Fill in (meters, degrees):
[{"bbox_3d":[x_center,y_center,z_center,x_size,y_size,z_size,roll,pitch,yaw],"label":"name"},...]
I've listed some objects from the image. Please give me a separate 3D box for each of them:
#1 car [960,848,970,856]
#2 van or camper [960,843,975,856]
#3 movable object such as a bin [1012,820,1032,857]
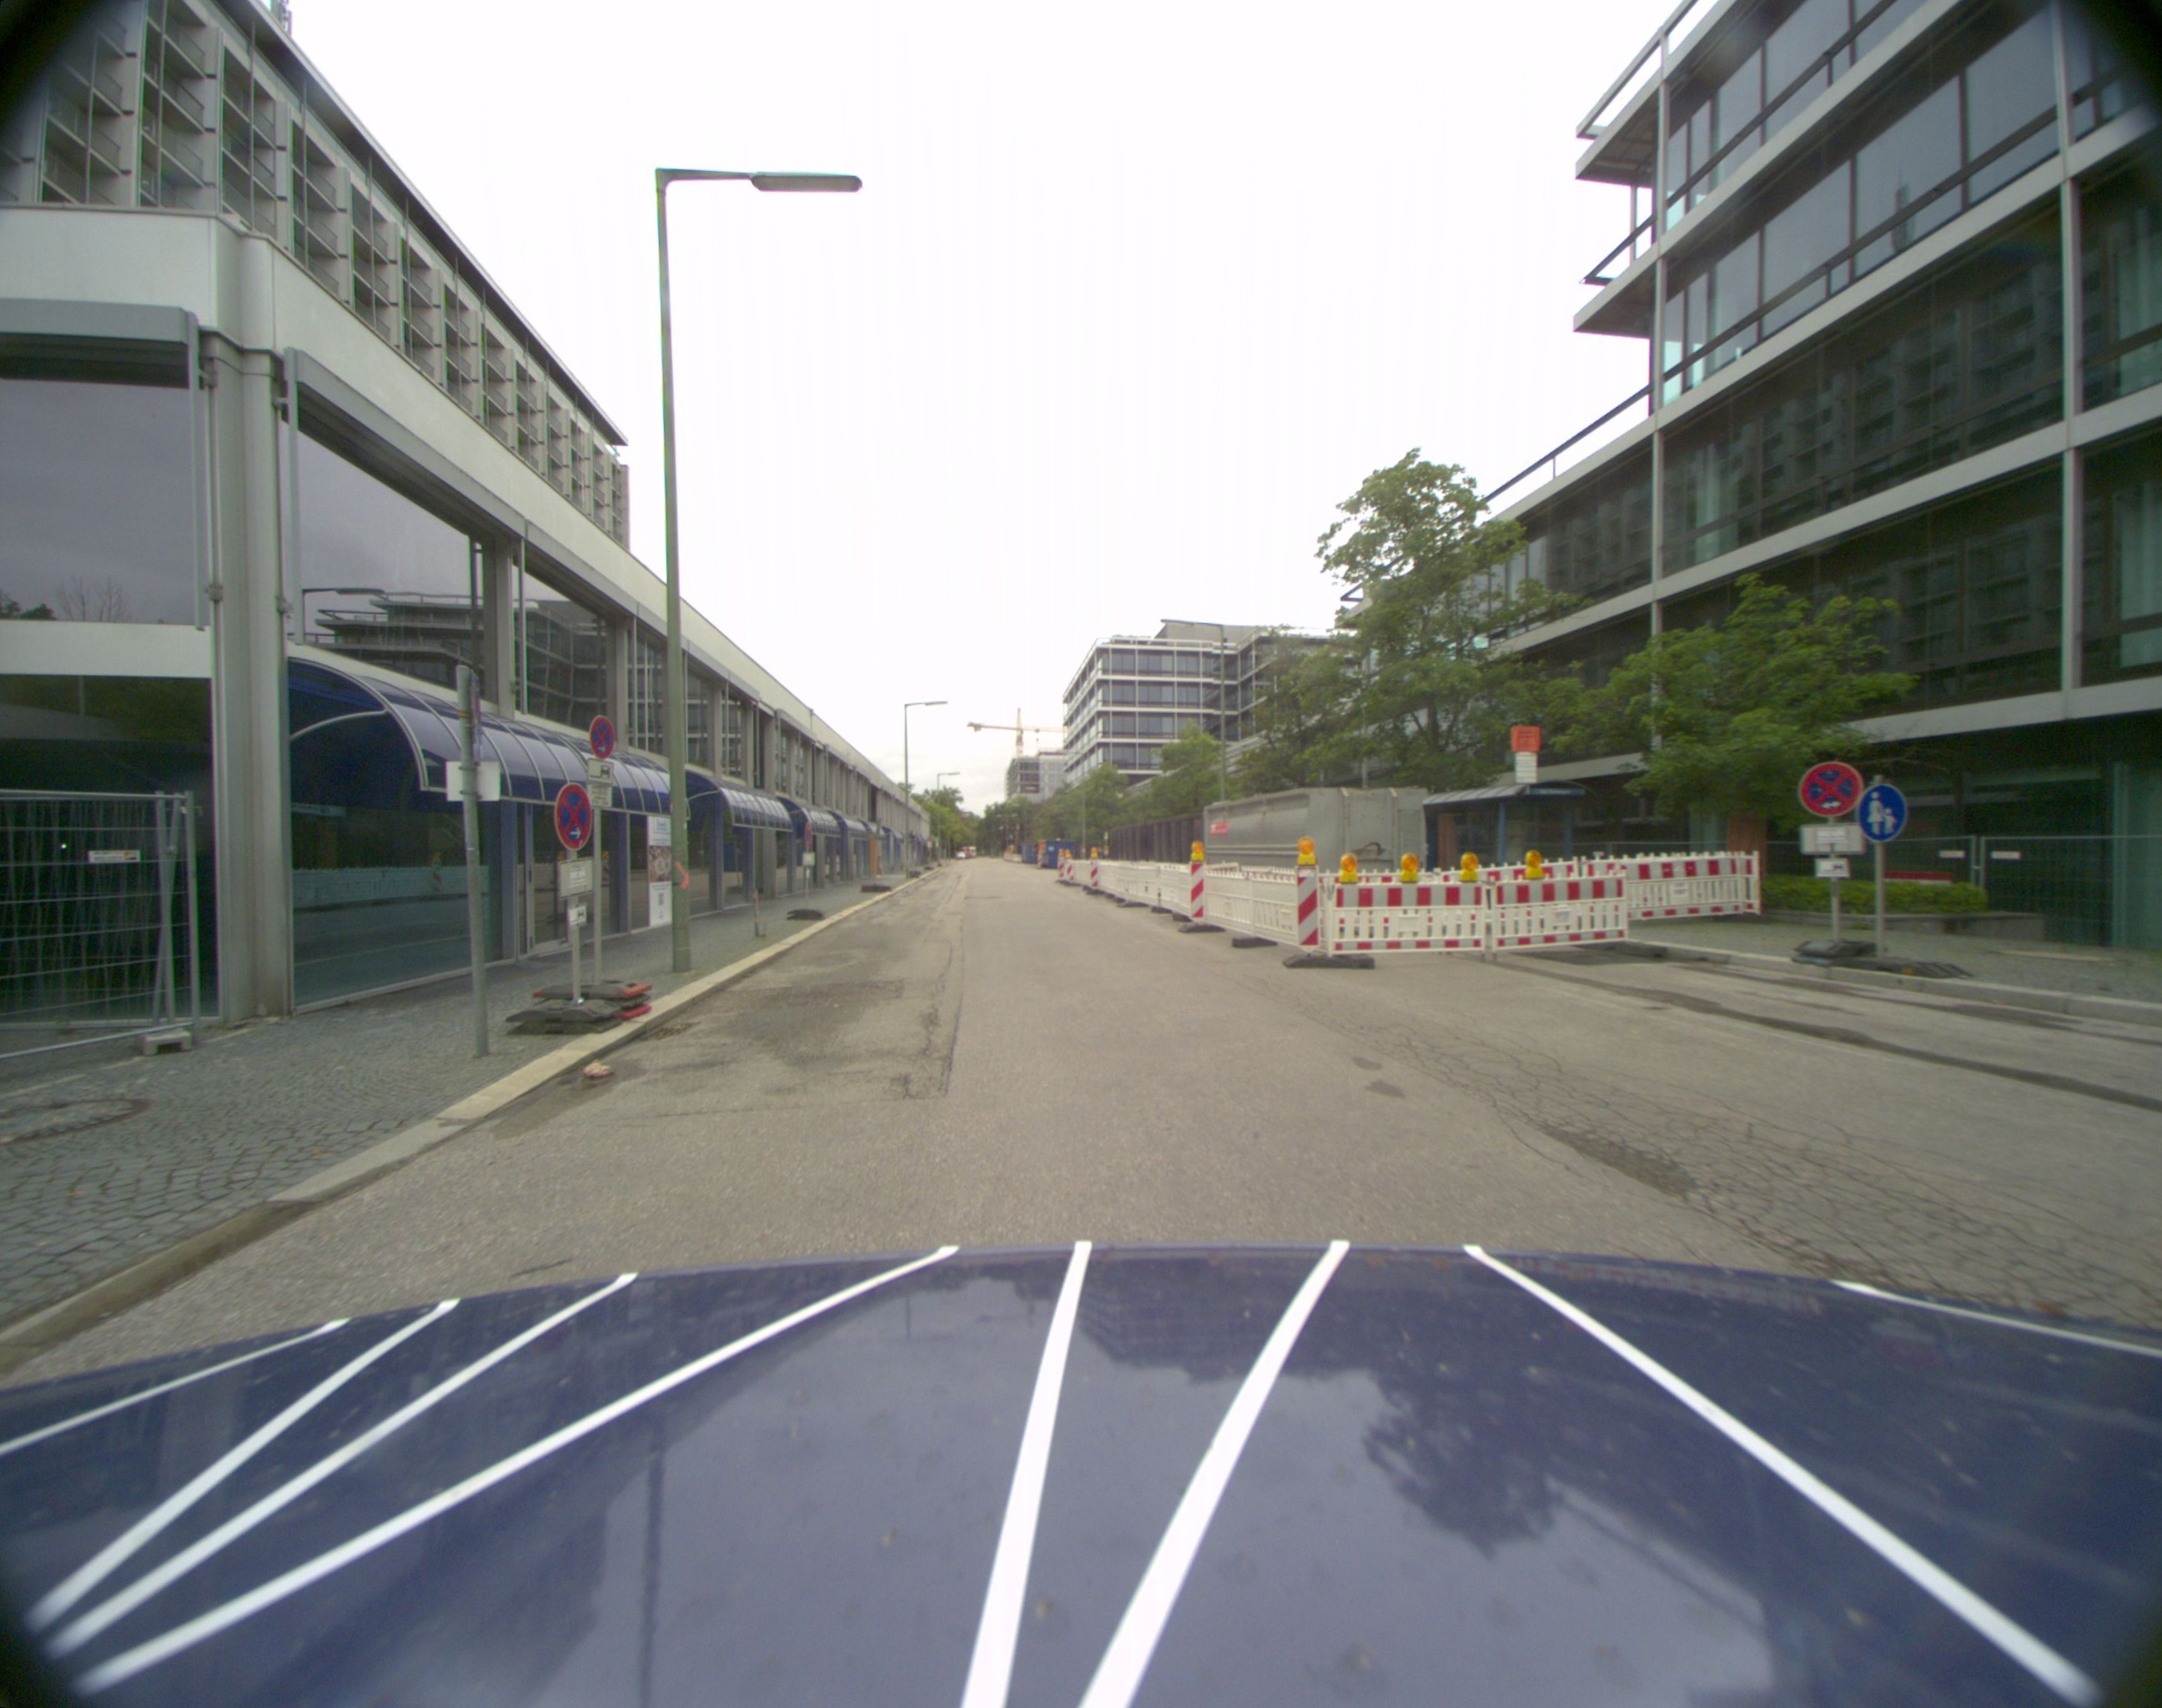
[{"bbox_3d":[-24.081,-0.335,157.892,1.914,1.627,3.997,0,1,-6],"label":"car"},{"bbox_3d":[-24.548,-0.964,164.151,2.668,2.751,6.911,0,1,-5],"label":"van or camper"},{"bbox_3d":[-10.400,-2.704,133.550,3.244,6.286,8.331,0,1,-5],"label":"movable object such as a bin"}]
